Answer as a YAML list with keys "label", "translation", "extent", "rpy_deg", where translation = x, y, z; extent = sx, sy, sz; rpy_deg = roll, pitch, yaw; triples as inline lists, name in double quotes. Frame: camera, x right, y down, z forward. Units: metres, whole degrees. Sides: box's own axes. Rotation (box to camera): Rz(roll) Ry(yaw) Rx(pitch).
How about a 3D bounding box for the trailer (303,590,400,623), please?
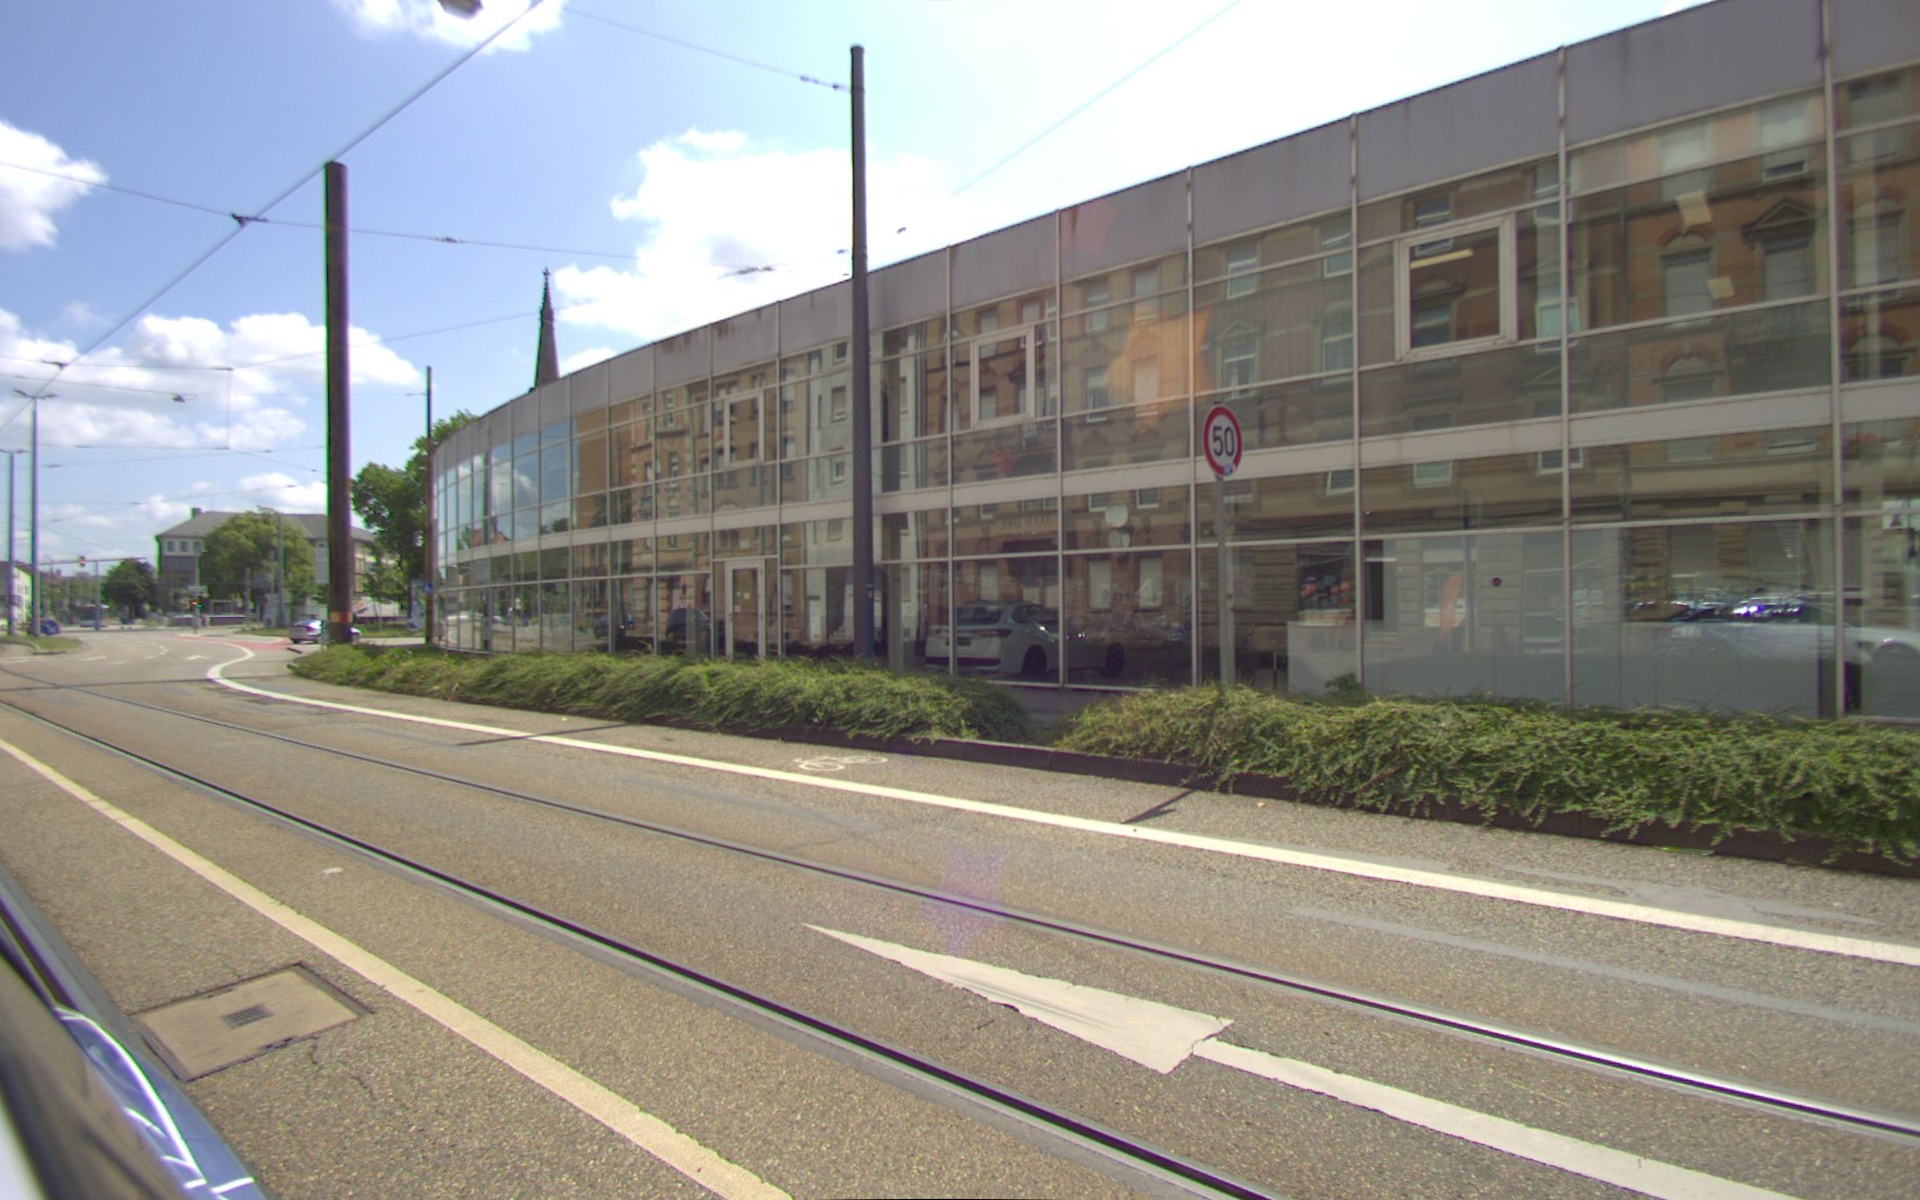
- label: "trailer"
  translation: [-79.431, 0.776, 132.567]
  extent: [2.916, 4.107, 13.379]
  rpy_deg: [-1, 0, 9]

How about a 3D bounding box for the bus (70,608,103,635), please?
- label: "bus"
  translation: [-115.829, 2.848, 134.268]
  extent: [2.905, 3.473, 7.963]
  rpy_deg: [0, -1, -38]

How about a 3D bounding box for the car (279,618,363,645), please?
- label: "car"
  translation: [-37.739, 1.847, 59.886]
  extent: [1.803, 1.431, 4.169]
  rpy_deg: [-1, 0, 14]

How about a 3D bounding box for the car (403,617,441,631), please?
- label: "car"
  translation: [-67.119, 2.993, 126.212]
  extent: [4.102, 1.655, 1.634]
  rpy_deg: [0, -1, -31]

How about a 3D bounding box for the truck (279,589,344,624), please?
- label: "truck"
  translation: [-80.551, 0.793, 125.803]
  extent: [2.931, 4.150, 6.857]
  rpy_deg: [-1, 0, 10]

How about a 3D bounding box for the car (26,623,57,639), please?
- label: "car"
  translation: [-83.202, 2.808, 91.677]
  extent: [3.900, 1.439, 1.684]
  rpy_deg: [-1, -2, 42]
